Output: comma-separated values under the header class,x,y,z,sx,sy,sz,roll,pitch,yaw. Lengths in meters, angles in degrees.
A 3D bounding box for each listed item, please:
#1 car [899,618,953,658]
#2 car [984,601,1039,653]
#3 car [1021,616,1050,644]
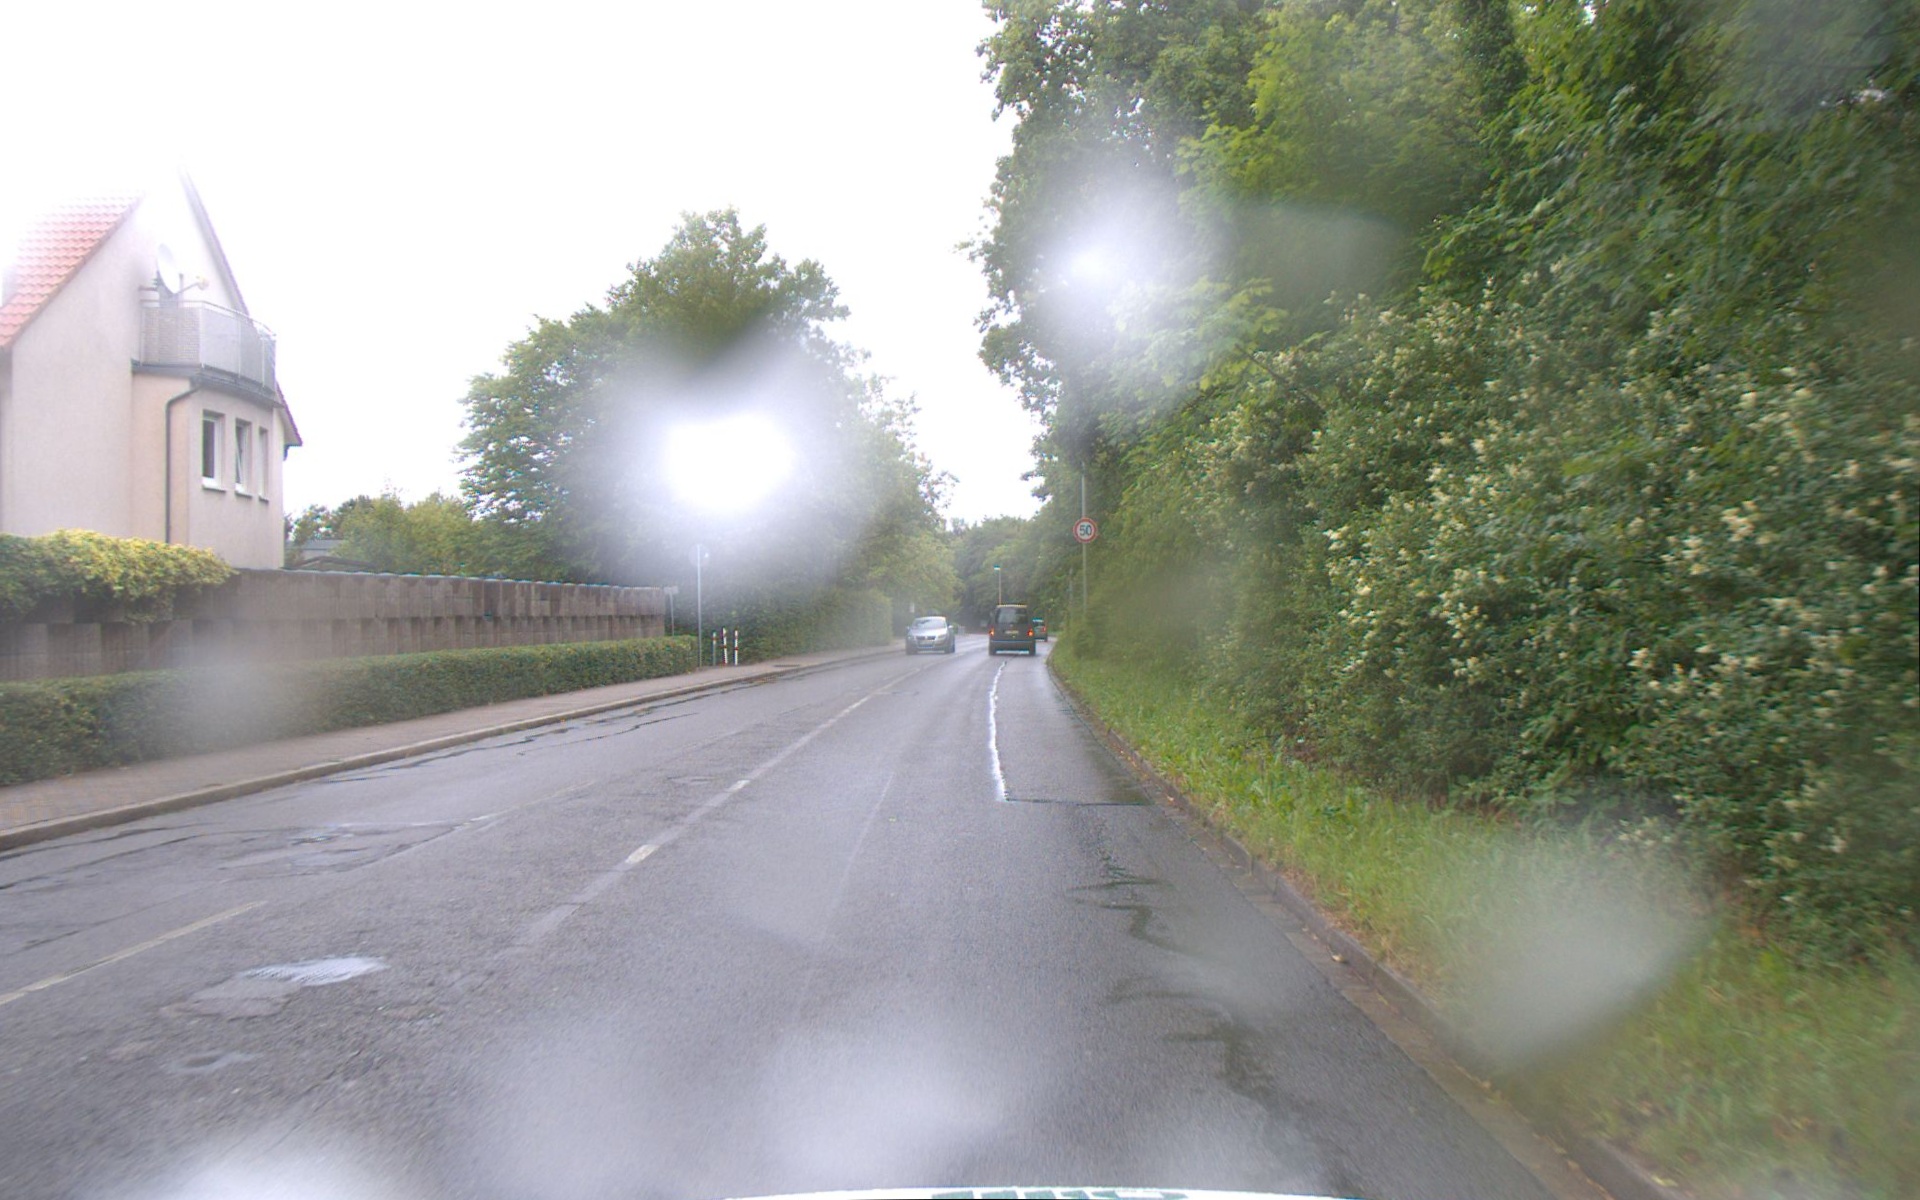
class,x,y,z,sx,sy,sz,roll,pitch,yaw
car,-1.336,1.493,66.275,1.952,1.445,4.486,-2,0,1
car,1.982,0.986,62.755,1.952,1.825,4.001,1,0,3
car,5.173,2.033,113.781,1.910,1.780,4.001,-1,0,1
